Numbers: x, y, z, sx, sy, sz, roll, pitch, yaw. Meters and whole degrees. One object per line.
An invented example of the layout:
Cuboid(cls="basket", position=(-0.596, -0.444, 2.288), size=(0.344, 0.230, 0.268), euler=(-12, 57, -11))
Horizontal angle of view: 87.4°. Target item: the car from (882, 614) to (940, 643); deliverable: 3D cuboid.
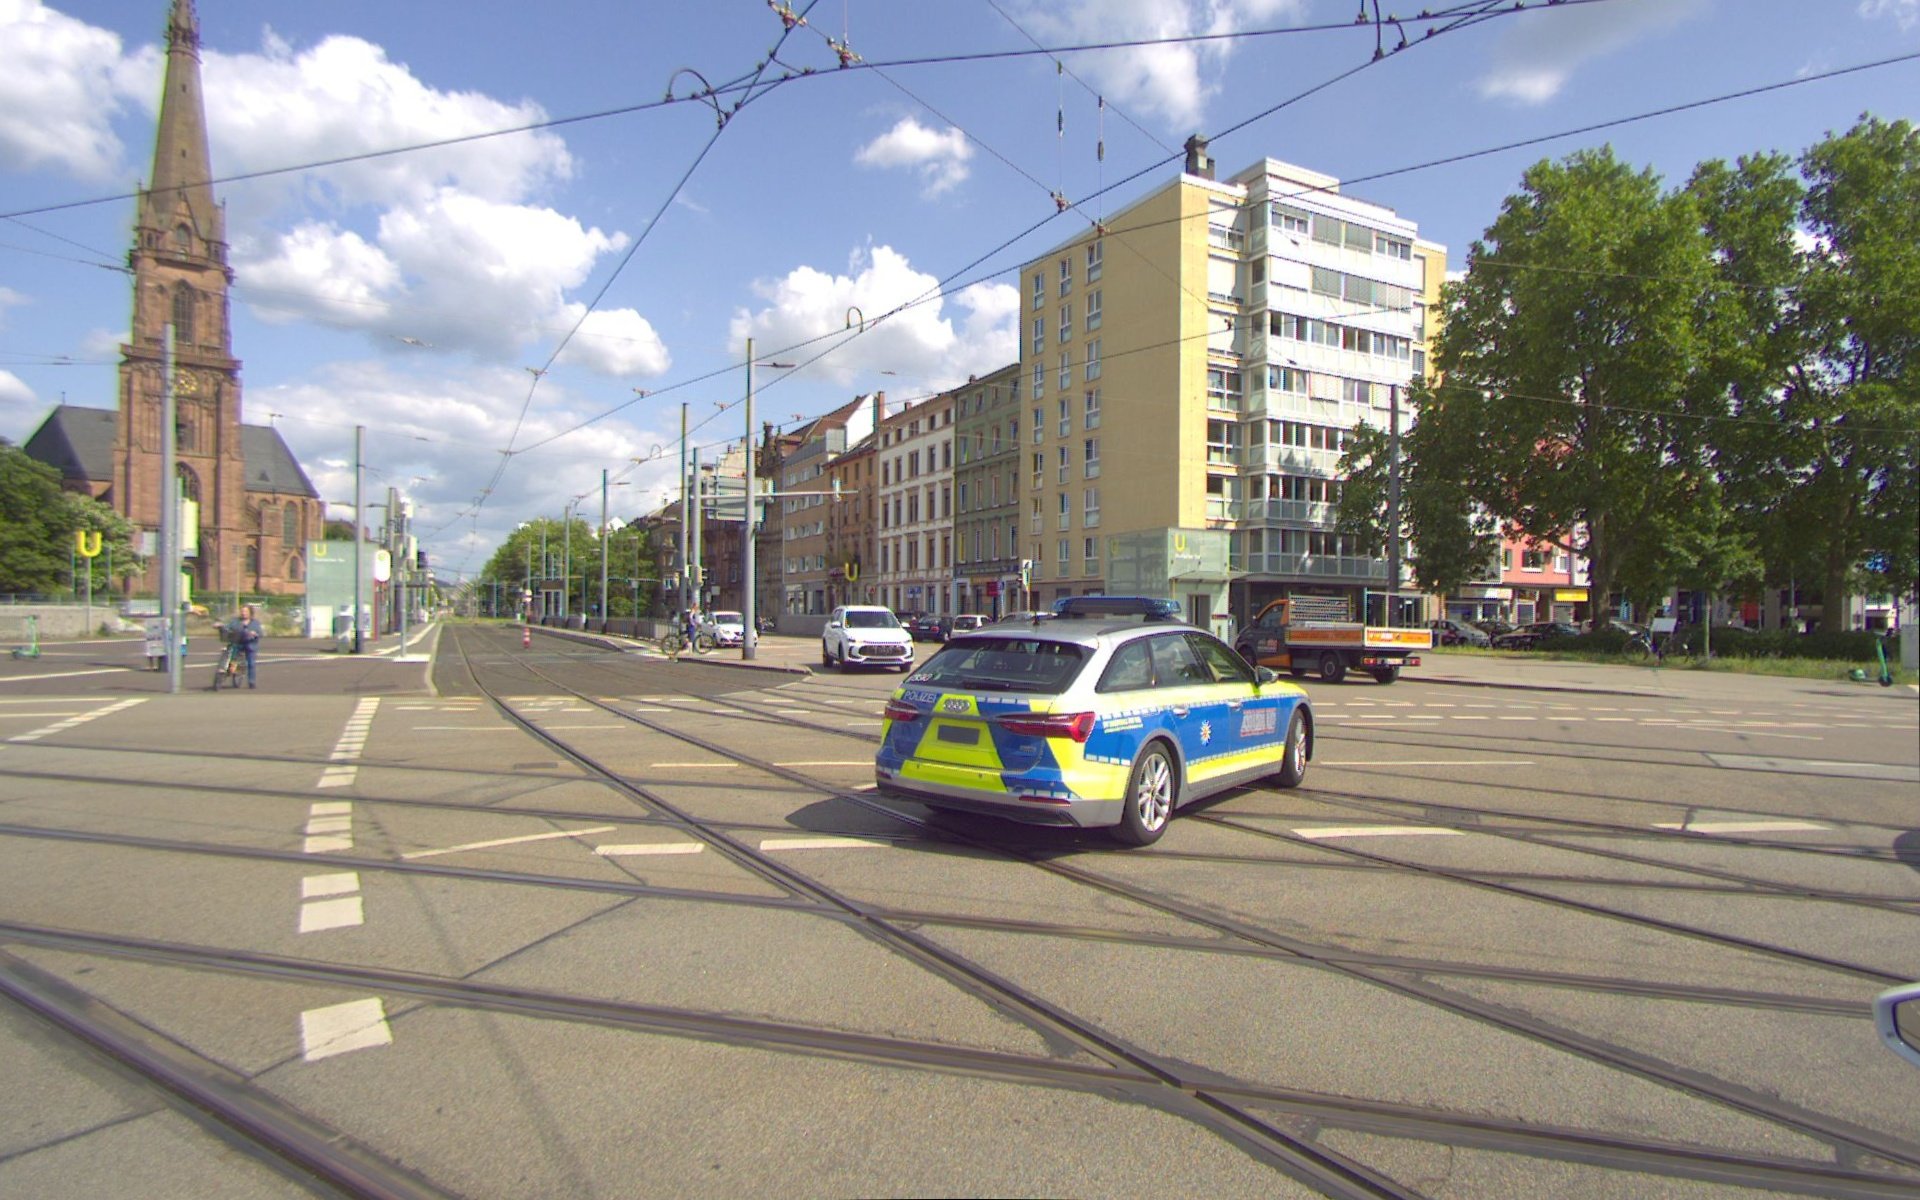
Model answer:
Cuboid(cls="car", position=(-2.692, 1.608, 56.054), size=(1.862, 1.516, 3.901), euler=(1, -1, 19))

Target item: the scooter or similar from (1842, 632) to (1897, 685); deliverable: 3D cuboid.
Cuboid(cls="scooter or similar", position=(22.087, 1.407, 24.414), size=(0.391, 1.210, 1.176), euler=(2, 1, 11))

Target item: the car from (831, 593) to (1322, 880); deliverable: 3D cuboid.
Cuboid(cls="car", position=(1.244, 0.799, 7.996), size=(1.856, 1.589, 4.598), euler=(0, -1, 36))

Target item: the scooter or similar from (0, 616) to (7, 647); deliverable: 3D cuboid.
Cuboid(cls="scooter or similar", position=(-35.937, 1.167, 36.542), size=(0.836, 1.120, 1.646), euler=(2, 1, 18))

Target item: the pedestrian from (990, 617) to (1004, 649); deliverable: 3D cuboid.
Cuboid(cls="pedestrian", position=(1.795, 1.619, 48.962), size=(0.546, 1.554, 0.698), euler=(1, -2, -11))

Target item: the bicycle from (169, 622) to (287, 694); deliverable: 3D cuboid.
Cuboid(cls="bicycle", position=(-13.107, 1.003, 18.081), size=(0.979, 1.204, 2.293), euler=(1, -2, -17))

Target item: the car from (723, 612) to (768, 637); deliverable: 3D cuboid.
Cuboid(cls="car", position=(-13.075, 1.448, 61.019), size=(1.720, 1.395, 3.973), euler=(1, 0, -26))

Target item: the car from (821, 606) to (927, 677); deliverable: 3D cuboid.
Cuboid(cls="car", position=(-2.307, 1.014, 25.853), size=(2.009, 1.661, 4.275), euler=(0, -1, -15))

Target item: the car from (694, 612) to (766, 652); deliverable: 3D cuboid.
Cuboid(cls="car", position=(-9.400, 1.259, 40.826), size=(1.974, 1.548, 4.066), euler=(1, -1, -26))

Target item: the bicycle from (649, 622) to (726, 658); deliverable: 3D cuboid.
Cuboid(cls="bicycle", position=(-9.209, 1.331, 33.982), size=(2.333, 1.153, 0.881), euler=(1, 1, -34))

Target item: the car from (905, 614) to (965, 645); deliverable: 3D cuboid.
Cuboid(cls="car", position=(-1.262, 1.564, 52.904), size=(1.862, 1.516, 3.901), euler=(1, -1, 19))

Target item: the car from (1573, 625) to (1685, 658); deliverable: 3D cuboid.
Cuboid(cls="car", position=(29.132, 1.808, 43.887), size=(1.607, 1.344, 3.987), euler=(2, -2, -16))

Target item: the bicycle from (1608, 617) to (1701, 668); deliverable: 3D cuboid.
Cuboid(cls="bicycle", position=(20.770, 1.244, 30.073), size=(0.802, 1.433, 2.158), euler=(0, 0, -29))

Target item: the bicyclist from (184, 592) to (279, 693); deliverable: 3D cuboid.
Cuboid(cls="bicyclist", position=(-13.134, 0.759, 18.161), size=(0.979, 1.754, 1.297), euler=(1, -1, -17))

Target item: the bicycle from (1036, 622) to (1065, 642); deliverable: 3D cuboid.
Cuboid(cls="bicycle", position=(5.253, 1.863, 58.392), size=(0.788, 1.118, 1.793), euler=(1, -1, -33))

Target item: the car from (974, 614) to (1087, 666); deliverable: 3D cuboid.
Cuboid(cls="car", position=(2.075, 1.189, 30.796), size=(1.828, 1.494, 3.977), euler=(0, -1, -23))

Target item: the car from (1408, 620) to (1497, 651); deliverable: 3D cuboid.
Cuboid(cls="car", position=(25.996, 1.855, 53.148), size=(1.781, 1.515, 3.969), euler=(1, -1, -29))

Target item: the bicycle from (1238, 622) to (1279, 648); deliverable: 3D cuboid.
Cuboid(cls="bicycle", position=(14.086, 1.655, 47.505), size=(0.788, 1.162, 1.794), euler=(1, 0, -32))

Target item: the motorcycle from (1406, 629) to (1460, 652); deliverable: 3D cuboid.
Cuboid(cls="motorcycle", position=(19.740, 1.673, 41.971), size=(2.005, 0.929, 0.811), euler=(-1, -1, 23))

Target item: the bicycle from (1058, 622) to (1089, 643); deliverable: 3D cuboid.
Cuboid(cls="bicycle", position=(6.397, 1.839, 56.697), size=(0.788, 1.118, 1.793), euler=(1, -1, -33))

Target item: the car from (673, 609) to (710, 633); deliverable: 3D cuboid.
Cuboid(cls="car", position=(-19.940, 1.538, 74.439), size=(2.017, 1.599, 4.513), euler=(1, 0, -23))

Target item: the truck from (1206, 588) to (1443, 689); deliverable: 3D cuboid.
Cuboid(cls="truck", position=(8.702, 0.890, 24.753), size=(2.311, 2.184, 5.825), euler=(1, -1, -20))

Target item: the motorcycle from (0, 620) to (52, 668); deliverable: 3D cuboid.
Cuboid(cls="motorcycle", position=(-25.303, 1.166, 27.107), size=(0.476, 1.253, 1.443), euler=(1, -1, -12))

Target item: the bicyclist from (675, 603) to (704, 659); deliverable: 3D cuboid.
Cuboid(cls="bicyclist", position=(-9.160, 1.041, 33.994), size=(0.702, 1.821, 0.772), euler=(1, 1, -33))

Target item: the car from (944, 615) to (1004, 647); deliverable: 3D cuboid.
Cuboid(cls="car", position=(0.761, 1.583, 51.342), size=(1.862, 1.516, 3.900), euler=(1, -1, 20))

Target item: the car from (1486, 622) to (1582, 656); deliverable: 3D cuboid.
Cuboid(cls="car", position=(25.684, 1.752, 44.955), size=(3.948, 1.432, 1.899), euler=(2, -2, -27))
